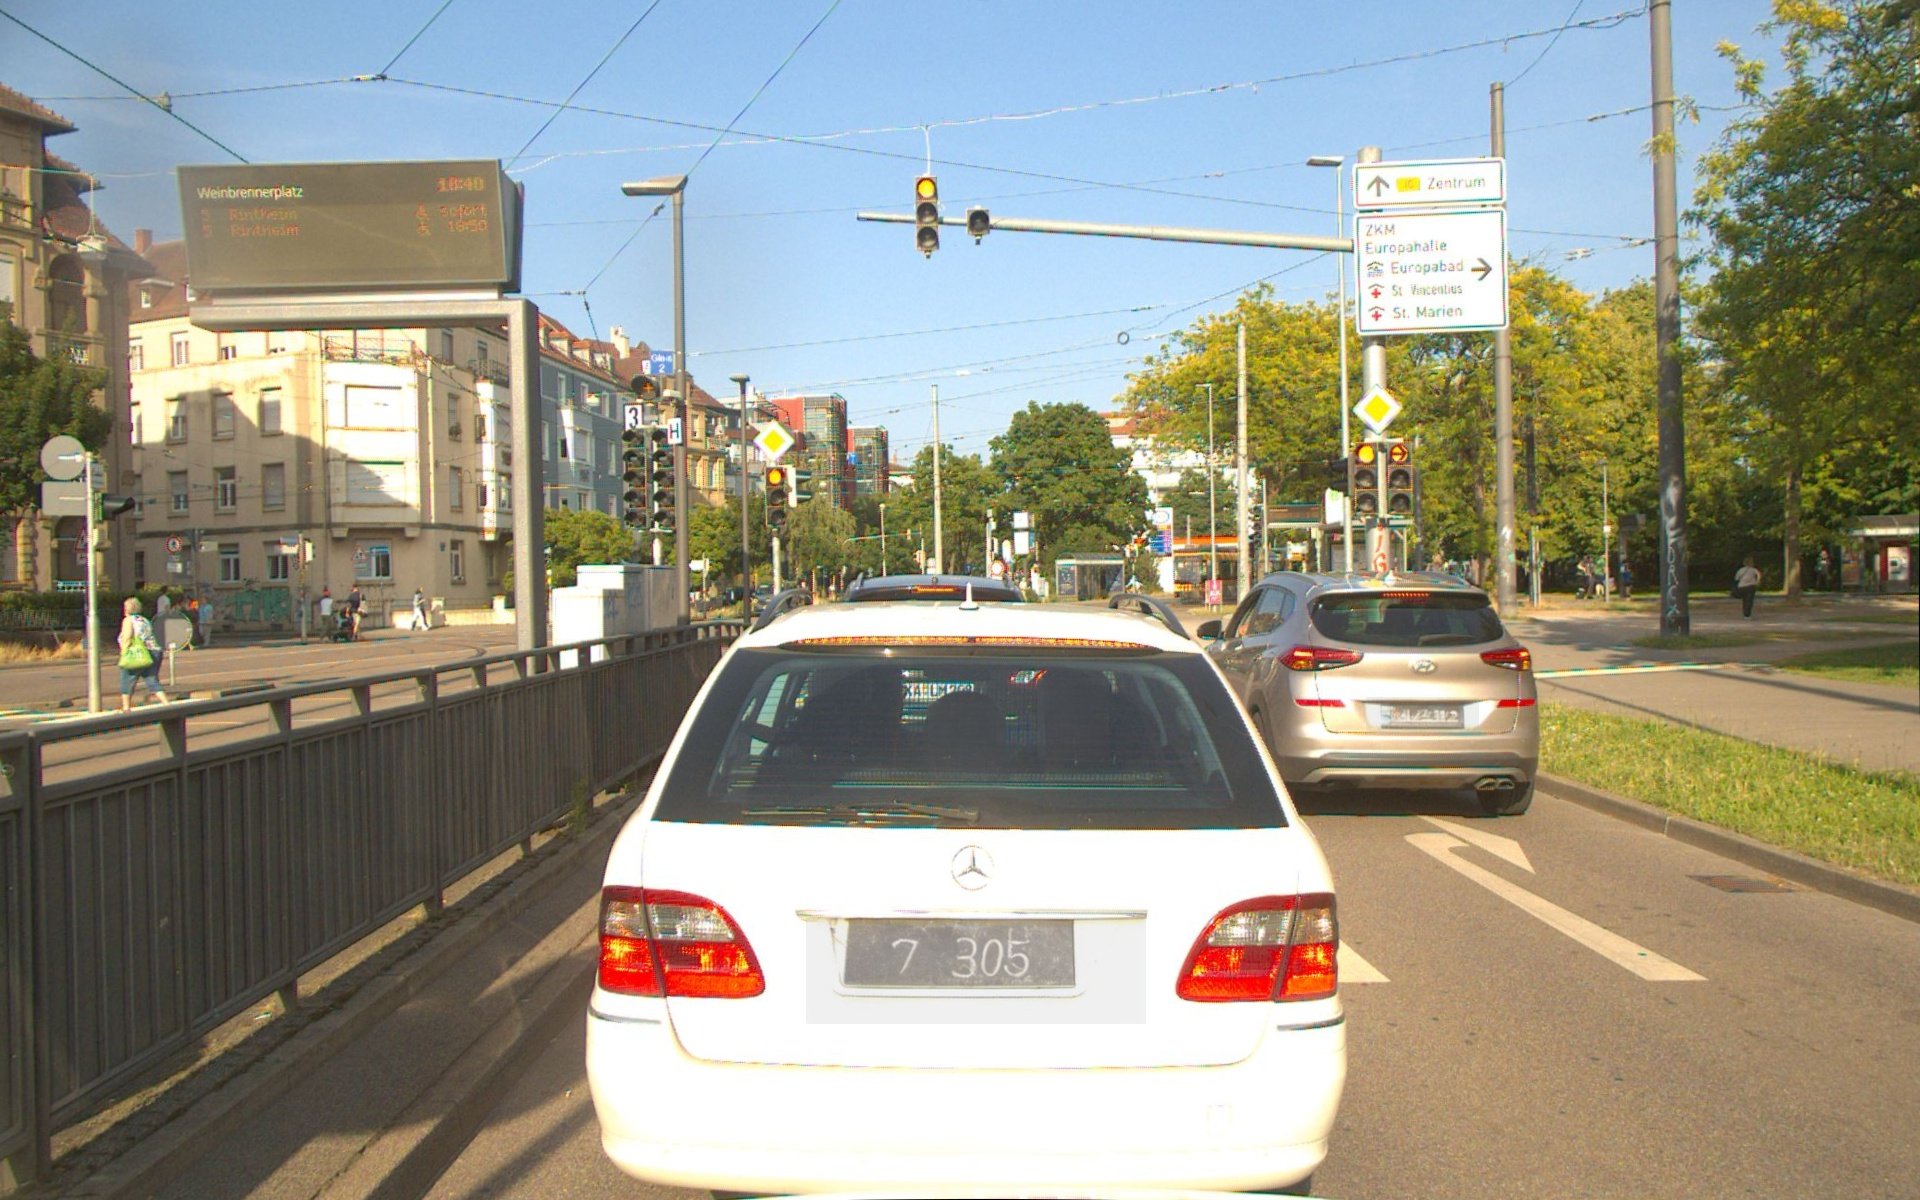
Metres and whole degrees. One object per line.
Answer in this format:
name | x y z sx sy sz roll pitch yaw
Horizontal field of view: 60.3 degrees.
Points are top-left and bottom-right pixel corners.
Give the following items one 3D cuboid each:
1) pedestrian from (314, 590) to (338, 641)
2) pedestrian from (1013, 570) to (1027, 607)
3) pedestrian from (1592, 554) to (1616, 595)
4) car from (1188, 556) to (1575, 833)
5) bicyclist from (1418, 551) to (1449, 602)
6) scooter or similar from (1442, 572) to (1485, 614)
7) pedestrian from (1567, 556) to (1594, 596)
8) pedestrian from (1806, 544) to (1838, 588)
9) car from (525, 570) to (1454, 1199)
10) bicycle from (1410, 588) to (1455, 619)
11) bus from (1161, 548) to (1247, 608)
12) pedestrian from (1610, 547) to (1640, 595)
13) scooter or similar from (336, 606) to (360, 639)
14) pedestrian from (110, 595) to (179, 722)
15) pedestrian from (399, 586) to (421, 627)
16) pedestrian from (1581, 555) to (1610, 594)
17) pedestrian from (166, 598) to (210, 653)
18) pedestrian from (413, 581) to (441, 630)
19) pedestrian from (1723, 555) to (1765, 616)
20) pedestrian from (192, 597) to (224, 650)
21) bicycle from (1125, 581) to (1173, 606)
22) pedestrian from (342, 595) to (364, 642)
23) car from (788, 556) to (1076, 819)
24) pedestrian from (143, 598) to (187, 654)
pedestrian | -21.061 0.517 54.955 0.497 1.654 0.608 -1 0 0
pedestrian | 3.141 -0.585 86.175 0.628 1.889 0.552 -1 0 11
pedestrian | 24.610 -0.968 63.231 0.797 1.513 0.700 -1 0 24
car | 2.896 0.576 12.189 1.846 1.680 3.647 -2 0 -1
bicyclist | 12.177 -0.603 42.560 0.523 1.284 0.869 -1 0 -1
scooter or similar | 13.941 -0.185 45.793 0.413 1.136 1.322 -1 0 -20
pedestrian | 24.062 -0.922 64.126 0.809 1.513 0.690 -2 0 -42
pedestrian | 33.460 -1.328 64.212 0.818 1.665 0.803 -1 0 5
car | 0.027 0.680 4.959 1.759 1.496 3.647 0 0 -1
bicycle | 12.180 0.076 42.701 0.485 0.770 2.168 -2 0 -1
bus | 16.121 -1.343 108.324 3.044 3.669 12.375 1 0 21
pedestrian | 25.888 -1.118 64.407 0.784 1.816 0.838 -1 0 -5
scooter or similar | -20.679 0.748 55.865 0.532 1.098 0.683 1 0 -1
pedestrian | -10.710 0.758 21.733 0.601 1.627 0.632 -1 0 -7
pedestrian | -22.969 0.279 69.118 0.606 1.689 0.586 -1 0 14
pedestrian | 24.870 -0.988 64.747 0.799 1.513 0.699 -1 0 -12
pedestrian | -22.290 0.733 47.760 0.812 1.579 0.782 -1 0 21
pedestrian | -22.513 0.232 69.862 0.758 2.049 0.787 -1 0 14
pedestrian | 21.703 -0.402 45.772 0.748 1.665 0.797 -2 0 -40
pedestrian | -23.015 0.712 50.608 0.616 1.568 0.711 -1 0 -1
bicycle | 9.754 -0.355 85.299 2.430 1.234 0.807 -1 0 7
pedestrian | -20.261 0.621 55.182 0.428 1.527 0.549 -1 0 14
car | -0.201 0.555 12.549 1.846 1.680 3.647 1 0 -1
pedestrian | -23.145 0.755 48.143 0.812 1.579 0.782 -1 0 21
